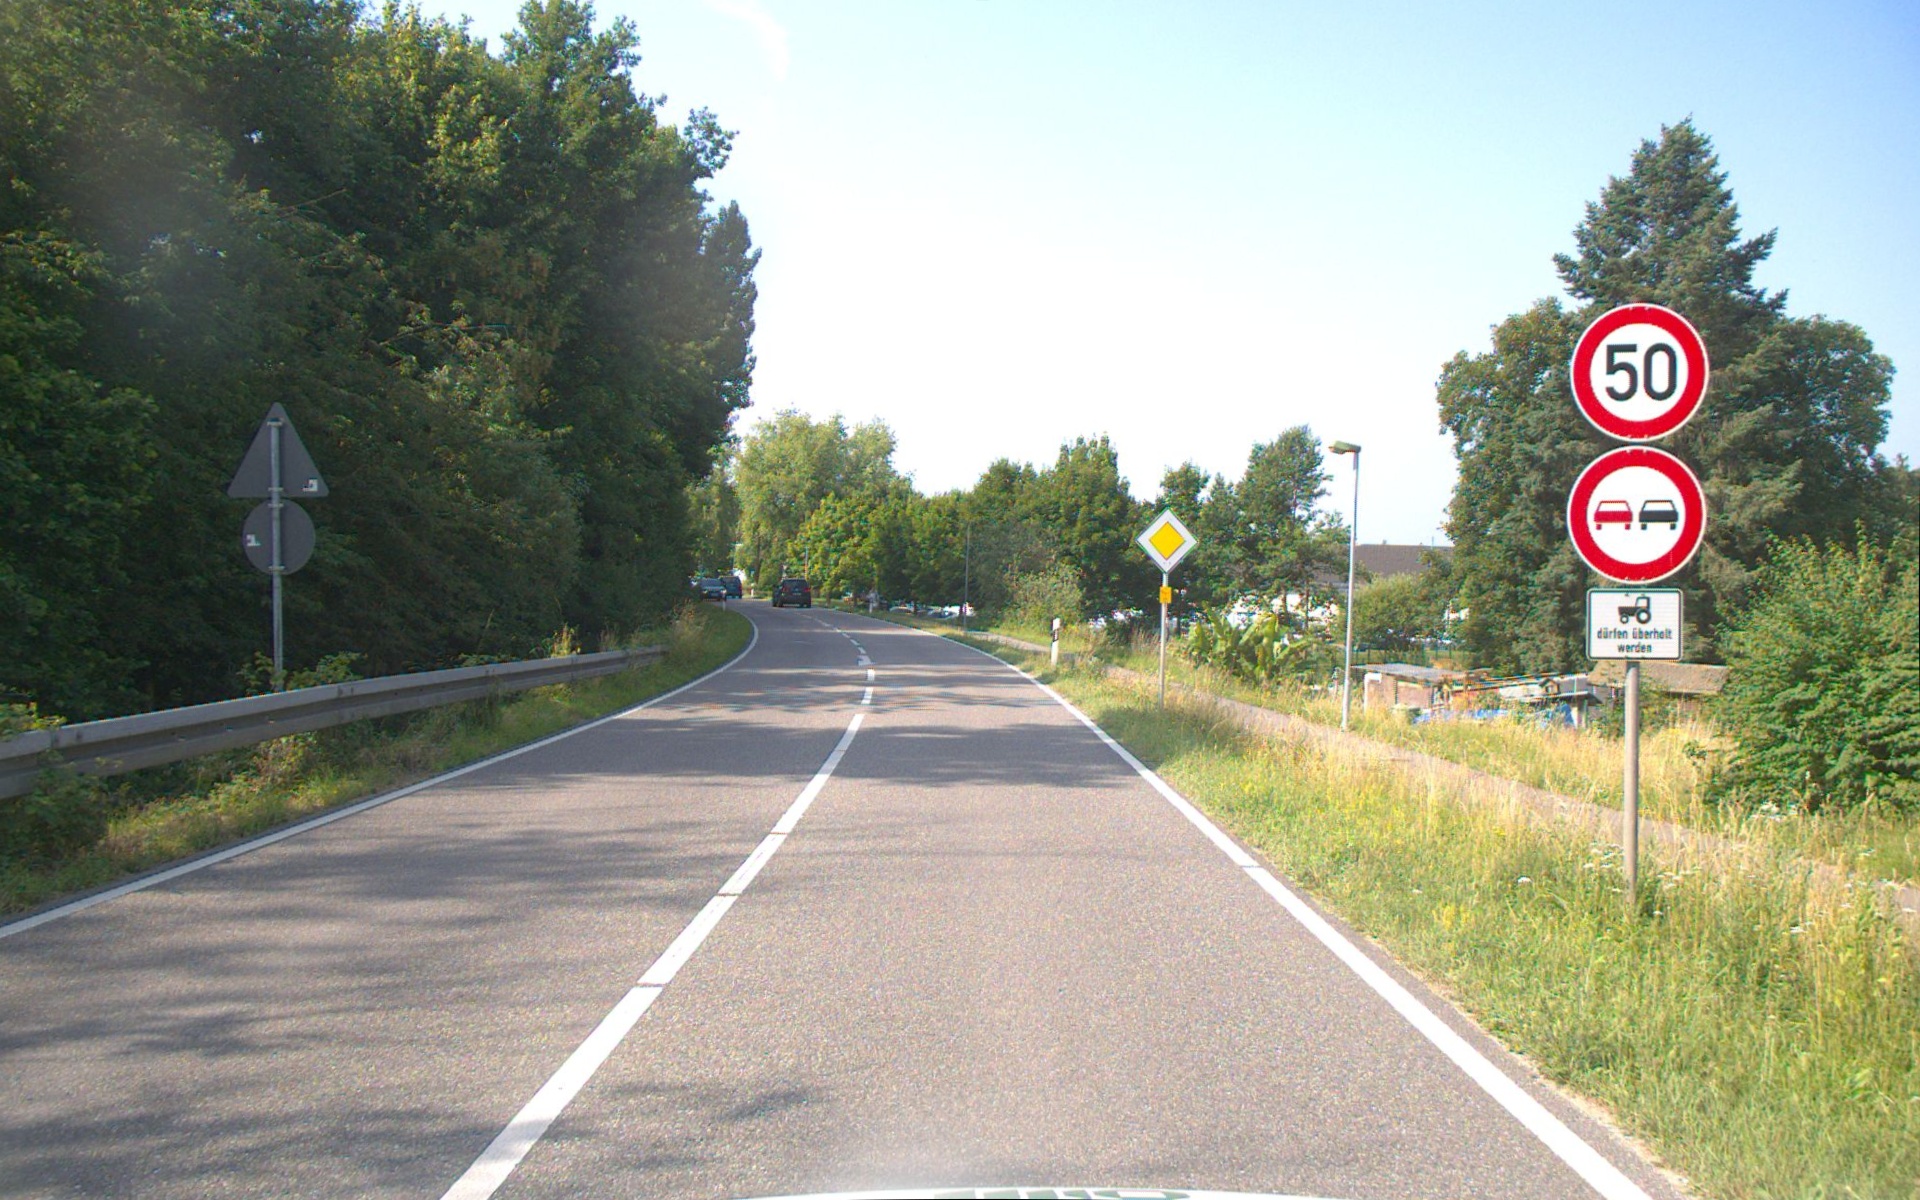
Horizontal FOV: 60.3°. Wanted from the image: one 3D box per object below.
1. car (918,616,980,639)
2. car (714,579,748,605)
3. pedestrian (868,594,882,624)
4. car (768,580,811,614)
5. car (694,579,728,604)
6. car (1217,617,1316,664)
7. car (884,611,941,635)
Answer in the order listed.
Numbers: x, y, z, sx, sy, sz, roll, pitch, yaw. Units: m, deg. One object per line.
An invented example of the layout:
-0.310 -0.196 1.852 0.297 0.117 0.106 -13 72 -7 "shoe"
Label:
-0.777 1.967 117.602 4.182 1.497 1.840 2 0 -8 "car"
-17.086 -0.590 123.140 1.971 1.801 3.985 2 1 -15 "car"
-5.125 0.535 99.465 0.739 1.806 0.972 2 0 -1 "pedestrian"
-9.992 -0.200 96.758 1.893 1.801 3.985 2 1 -15 "car"
-16.741 -0.589 111.104 1.723 1.499 3.982 2 1 -16 "car"
19.360 2.562 104.540 5.670 2.714 2.398 2 0 36 "car"
-3.719 1.794 128.483 4.159 1.709 1.885 2 0 -12 "car"
